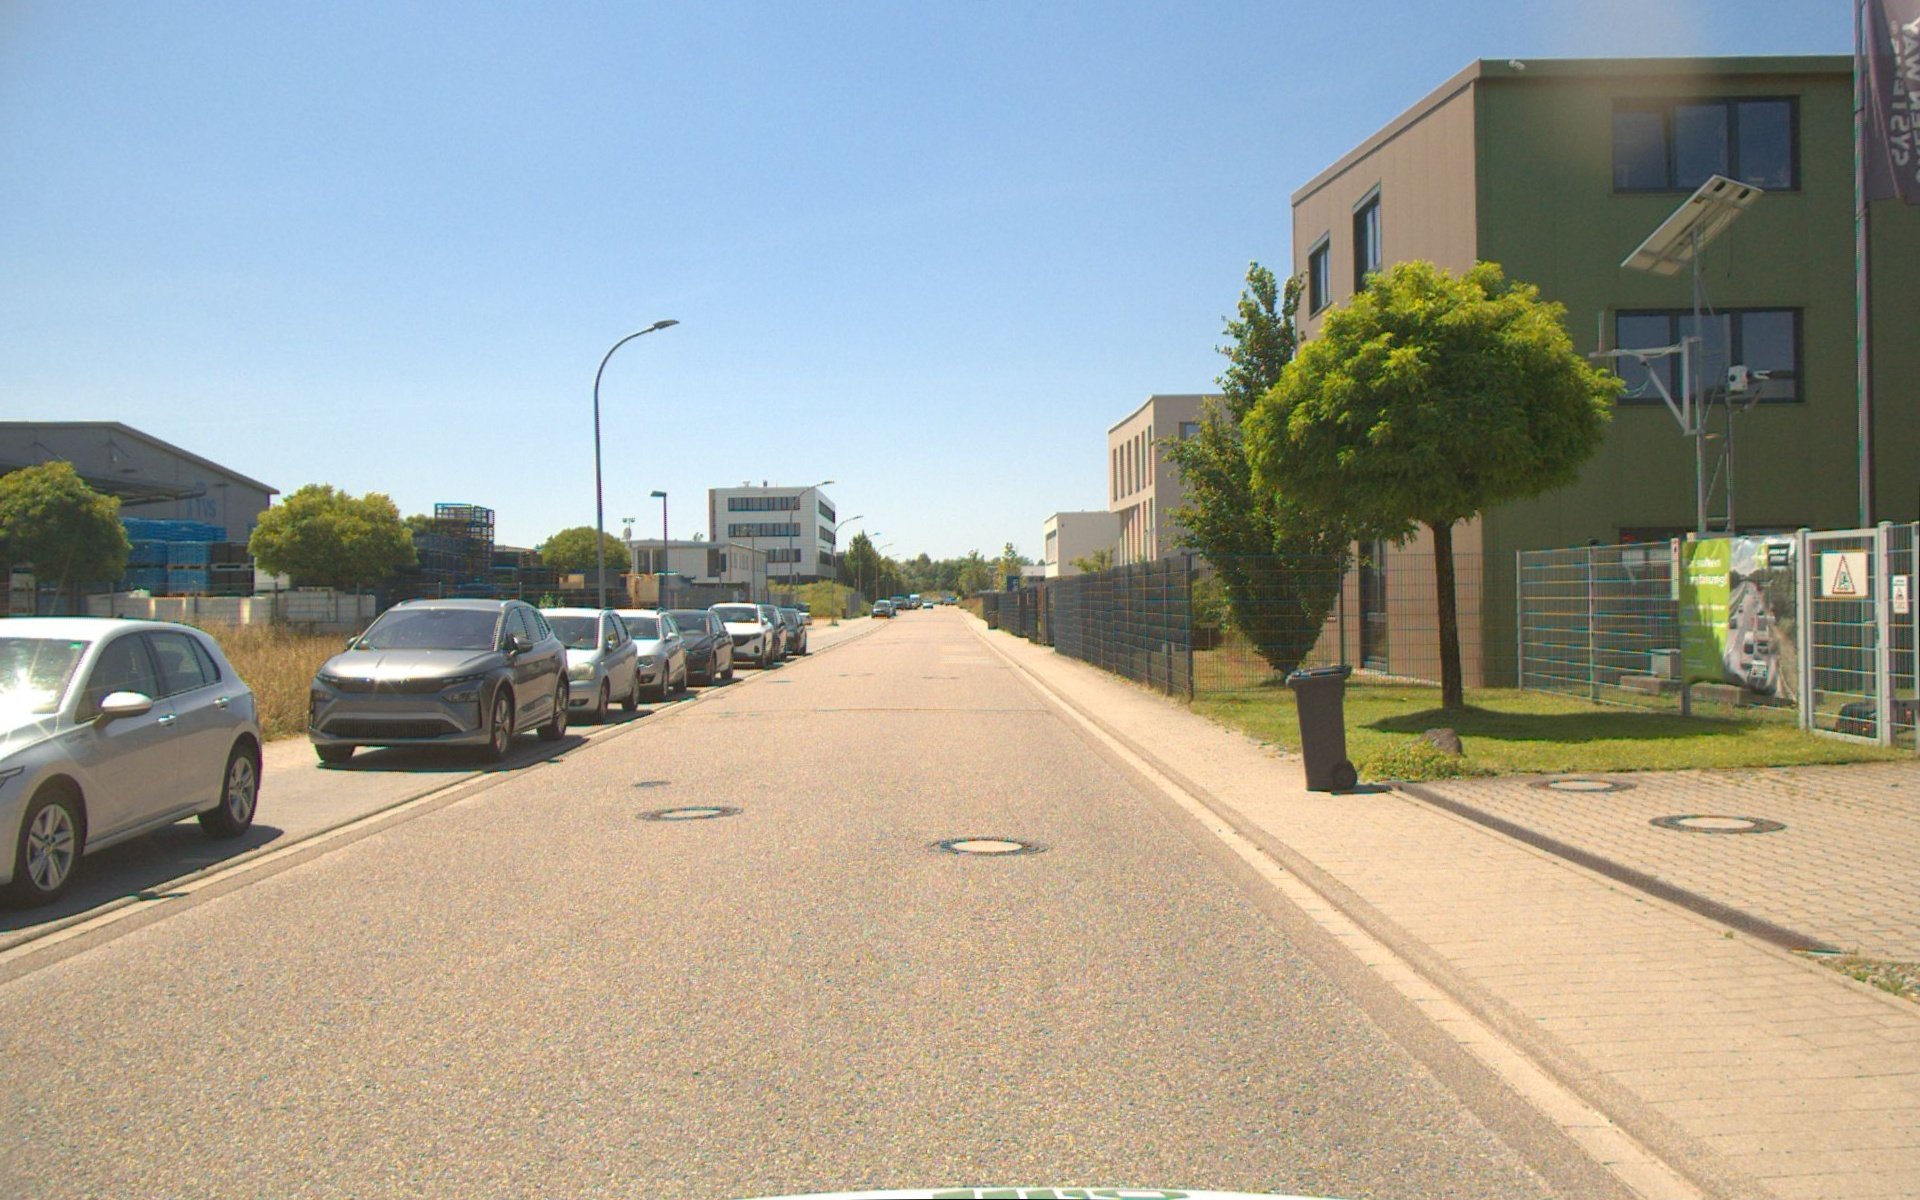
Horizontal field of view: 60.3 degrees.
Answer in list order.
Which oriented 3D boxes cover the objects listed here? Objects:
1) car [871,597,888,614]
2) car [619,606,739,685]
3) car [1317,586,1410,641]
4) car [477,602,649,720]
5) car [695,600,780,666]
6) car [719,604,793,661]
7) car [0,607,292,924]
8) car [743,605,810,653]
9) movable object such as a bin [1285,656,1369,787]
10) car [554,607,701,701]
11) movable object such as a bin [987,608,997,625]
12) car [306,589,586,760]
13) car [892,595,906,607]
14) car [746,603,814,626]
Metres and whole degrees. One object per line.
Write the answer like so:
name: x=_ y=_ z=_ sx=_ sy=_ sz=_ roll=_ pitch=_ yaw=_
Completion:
car: x=-7.249 y=0.510 z=148.955 sx=1.437 sy=1.516 sz=3.207 roll=-1 pitch=0 yaw=0
car: x=-5.748 y=0.895 z=34.311 sx=1.819 sy=1.506 sz=4.228 roll=0 pitch=0 yaw=-1
car: x=11.528 y=0.384 z=47.480 sx=1.621 sy=1.469 sz=3.999 roll=-1 pitch=0 yaw=-1
car: x=-5.591 y=0.813 z=23.712 sx=1.659 sy=1.552 sz=3.734 roll=0 pitch=0 yaw=-2
car: x=-5.750 y=0.824 z=43.182 sx=1.733 sy=1.620 sz=4.358 roll=0 pitch=0 yaw=-2
car: x=-5.945 y=0.913 z=48.566 sx=1.733 sy=1.583 sz=4.499 roll=0 pitch=0 yaw=-2
car: x=-5.558 y=0.797 z=9.781 sx=1.728 sy=1.476 sz=4.197 roll=0 pitch=0 yaw=-4
car: x=-5.967 y=0.913 z=54.181 sx=1.733 sy=1.487 sz=4.332 roll=0 pitch=0 yaw=-1
movable object such as a bin: x=2.837 y=0.933 z=12.821 sx=0.540 sy=0.944 sz=0.522 roll=-5 pitch=-1 yaw=9
car: x=-5.769 y=0.888 z=29.209 sx=1.739 sy=1.506 sz=4.814 roll=0 pitch=0 yaw=-2
movable object such as a bin: x=1.955 y=1.019 z=101.139 sx=0.541 sy=0.944 sz=0.522 roll=-5 pitch=1 yaw=3
car: x=-5.411 y=0.711 z=18.025 sx=1.754 sy=1.635 sz=4.461 roll=0 pitch=0 yaw=-2
car: x=-7.465 y=0.137 z=203.934 sx=1.611 sy=1.516 sz=3.207 roll=-1 pitch=0 yaw=0
car: x=-11.675 y=0.942 z=107.651 sx=4.190 sy=1.388 sz=1.897 roll=-2 pitch=0 yaw=-1
